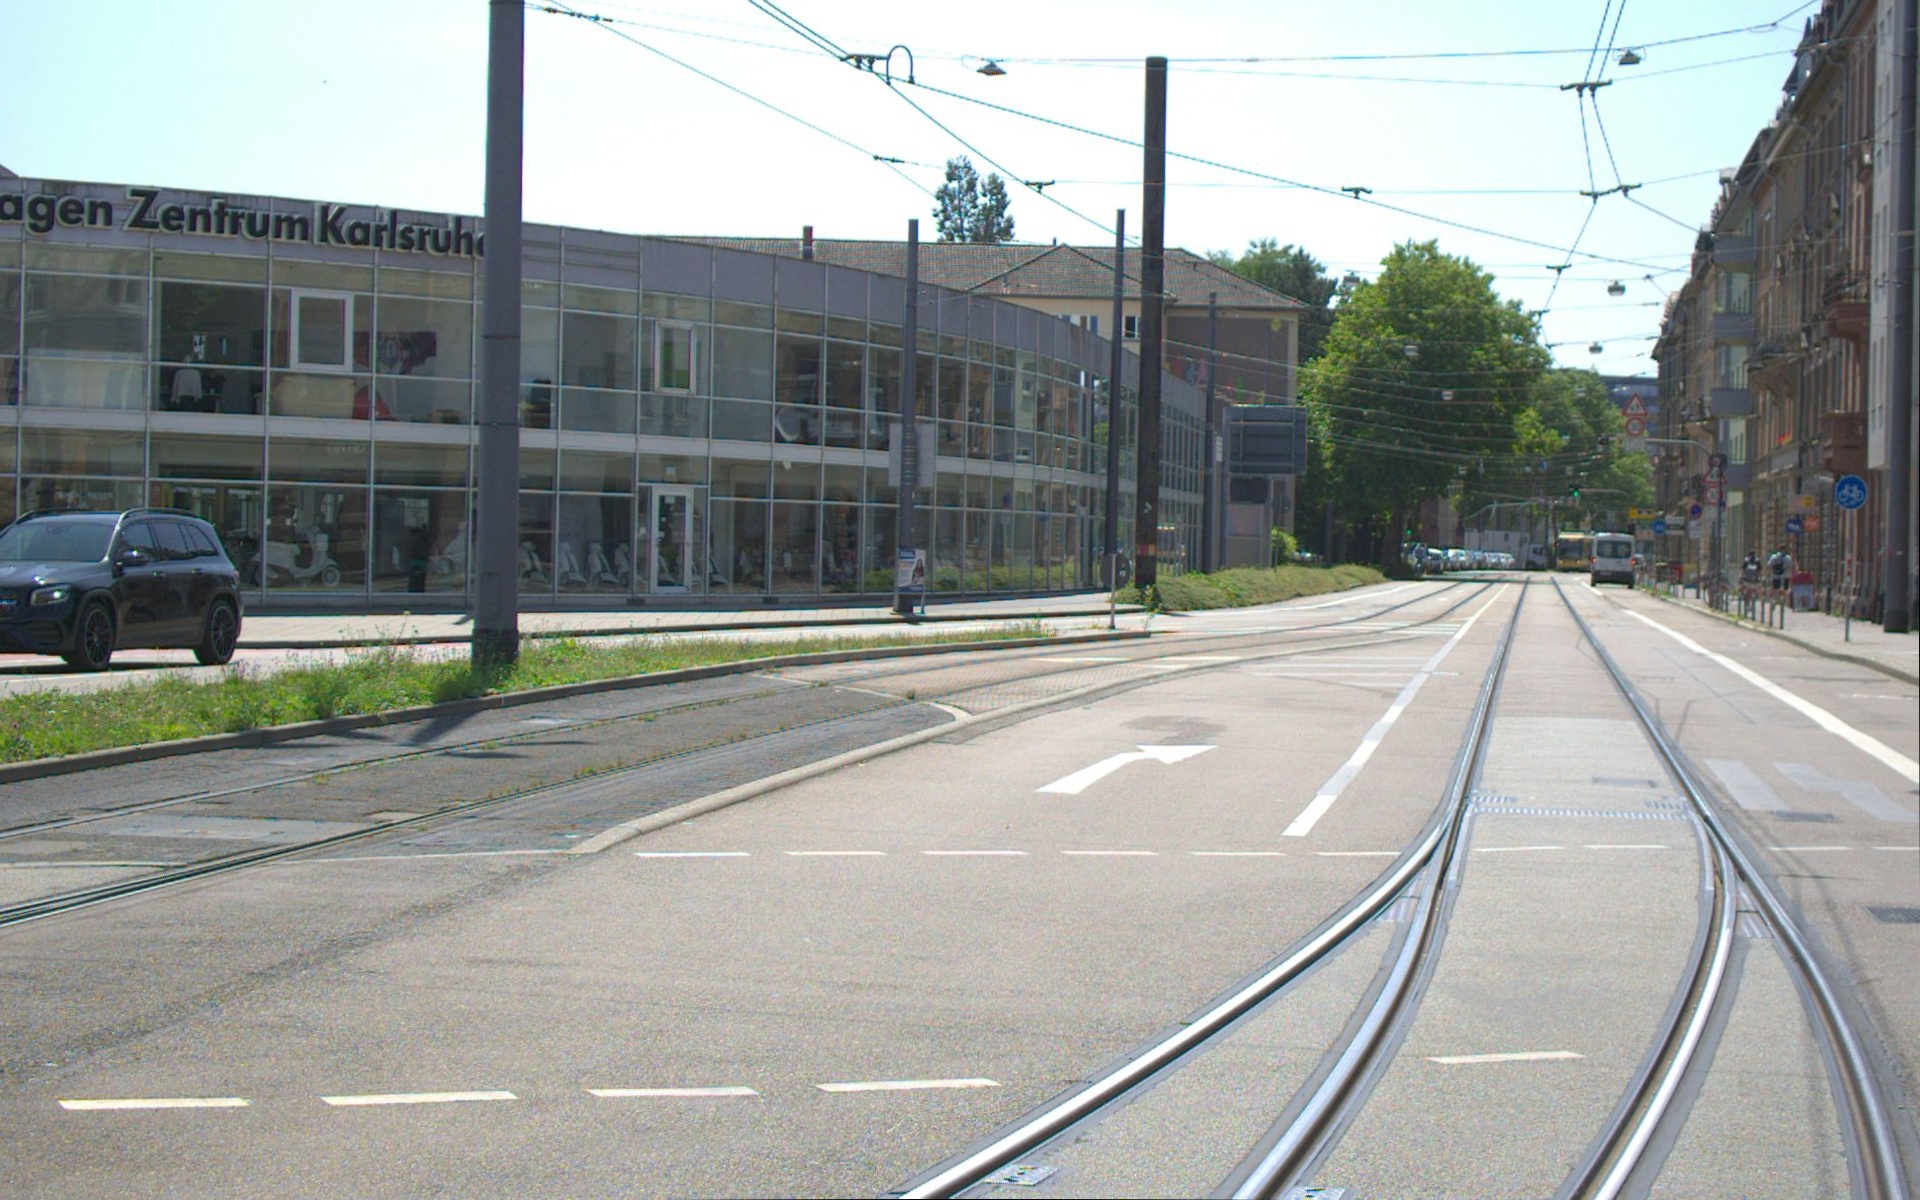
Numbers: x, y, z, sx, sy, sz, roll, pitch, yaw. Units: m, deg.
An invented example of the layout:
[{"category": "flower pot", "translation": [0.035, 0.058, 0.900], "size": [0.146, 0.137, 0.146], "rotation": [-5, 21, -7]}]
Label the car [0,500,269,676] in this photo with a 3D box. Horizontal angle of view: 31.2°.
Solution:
[{"category": "car", "translation": [-9.110, -0.168, 35.591], "size": [2.080, 1.677, 4.844], "rotation": [2, 1, 12]}]

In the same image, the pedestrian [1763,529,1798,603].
[{"category": "pedestrian", "translation": [22.925, -0.940, 96.087], "size": [0.768, 2.007, 0.664], "rotation": [3, 0, 7]}]

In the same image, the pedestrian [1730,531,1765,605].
[{"category": "pedestrian", "translation": [22.043, -0.893, 96.237], "size": [0.768, 2.007, 0.664], "rotation": [3, 0, 7]}]

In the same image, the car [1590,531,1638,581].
[{"category": "car", "translation": [30.889, -2.050, 162.394], "size": [1.994, 2.173, 4.367], "rotation": [3, 0, 10]}]
